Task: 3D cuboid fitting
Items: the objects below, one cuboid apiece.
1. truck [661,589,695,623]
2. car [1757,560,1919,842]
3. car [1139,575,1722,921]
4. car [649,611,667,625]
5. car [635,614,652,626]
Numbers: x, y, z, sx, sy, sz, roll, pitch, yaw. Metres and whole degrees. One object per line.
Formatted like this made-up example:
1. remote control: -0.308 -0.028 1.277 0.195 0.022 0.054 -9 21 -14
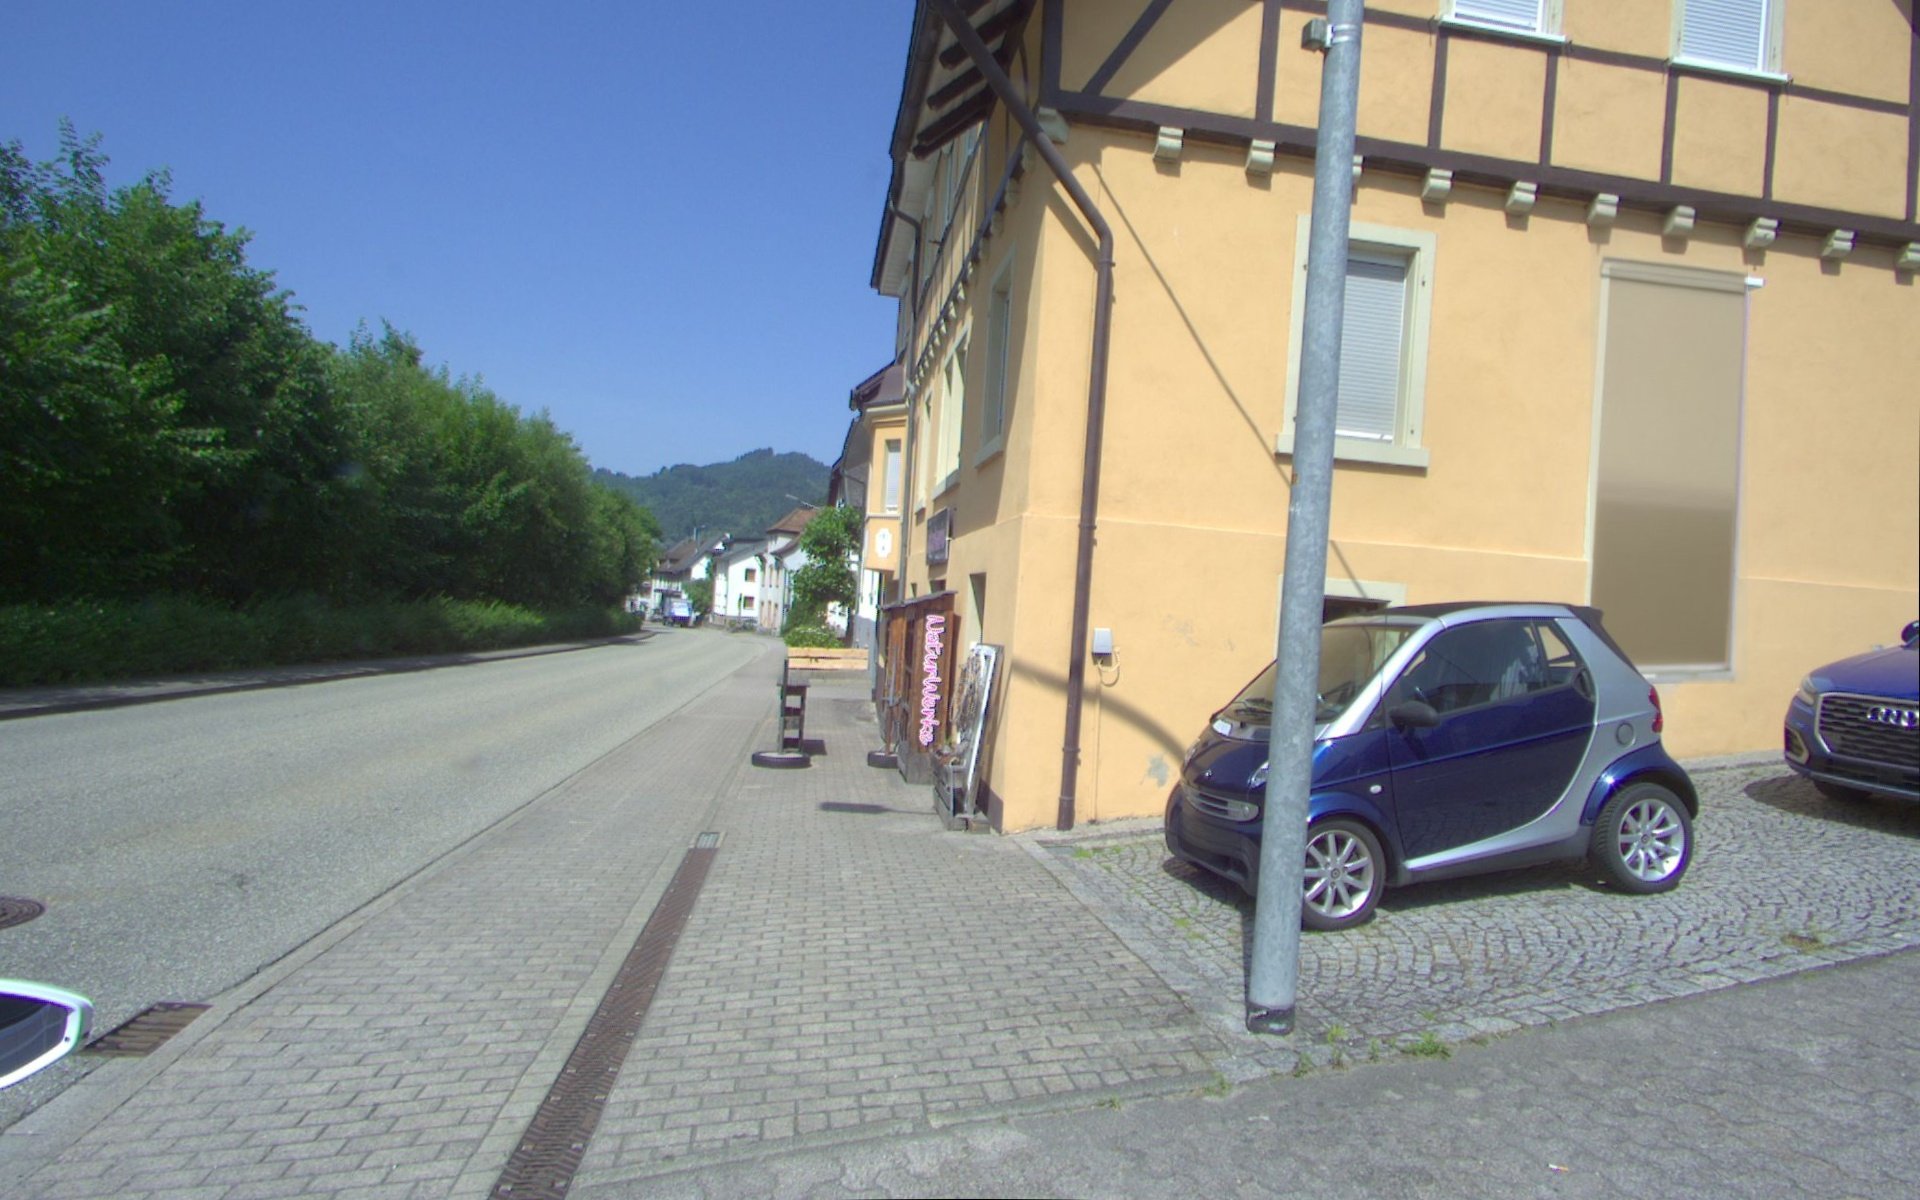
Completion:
1. truck: -33.980 0.777 120.397 3.317 3.830 8.422 0 -2 -20
2. car: 7.459 0.602 6.380 3.863 1.647 1.733 0 0 -14
3. car: 2.538 0.710 5.655 2.613 1.556 1.424 -2 -1 -13
4. car: -42.599 2.557 141.392 1.968 1.905 3.987 0 -2 -24
5. car: -49.652 3.166 156.954 1.970 1.905 3.985 1 -2 -27
